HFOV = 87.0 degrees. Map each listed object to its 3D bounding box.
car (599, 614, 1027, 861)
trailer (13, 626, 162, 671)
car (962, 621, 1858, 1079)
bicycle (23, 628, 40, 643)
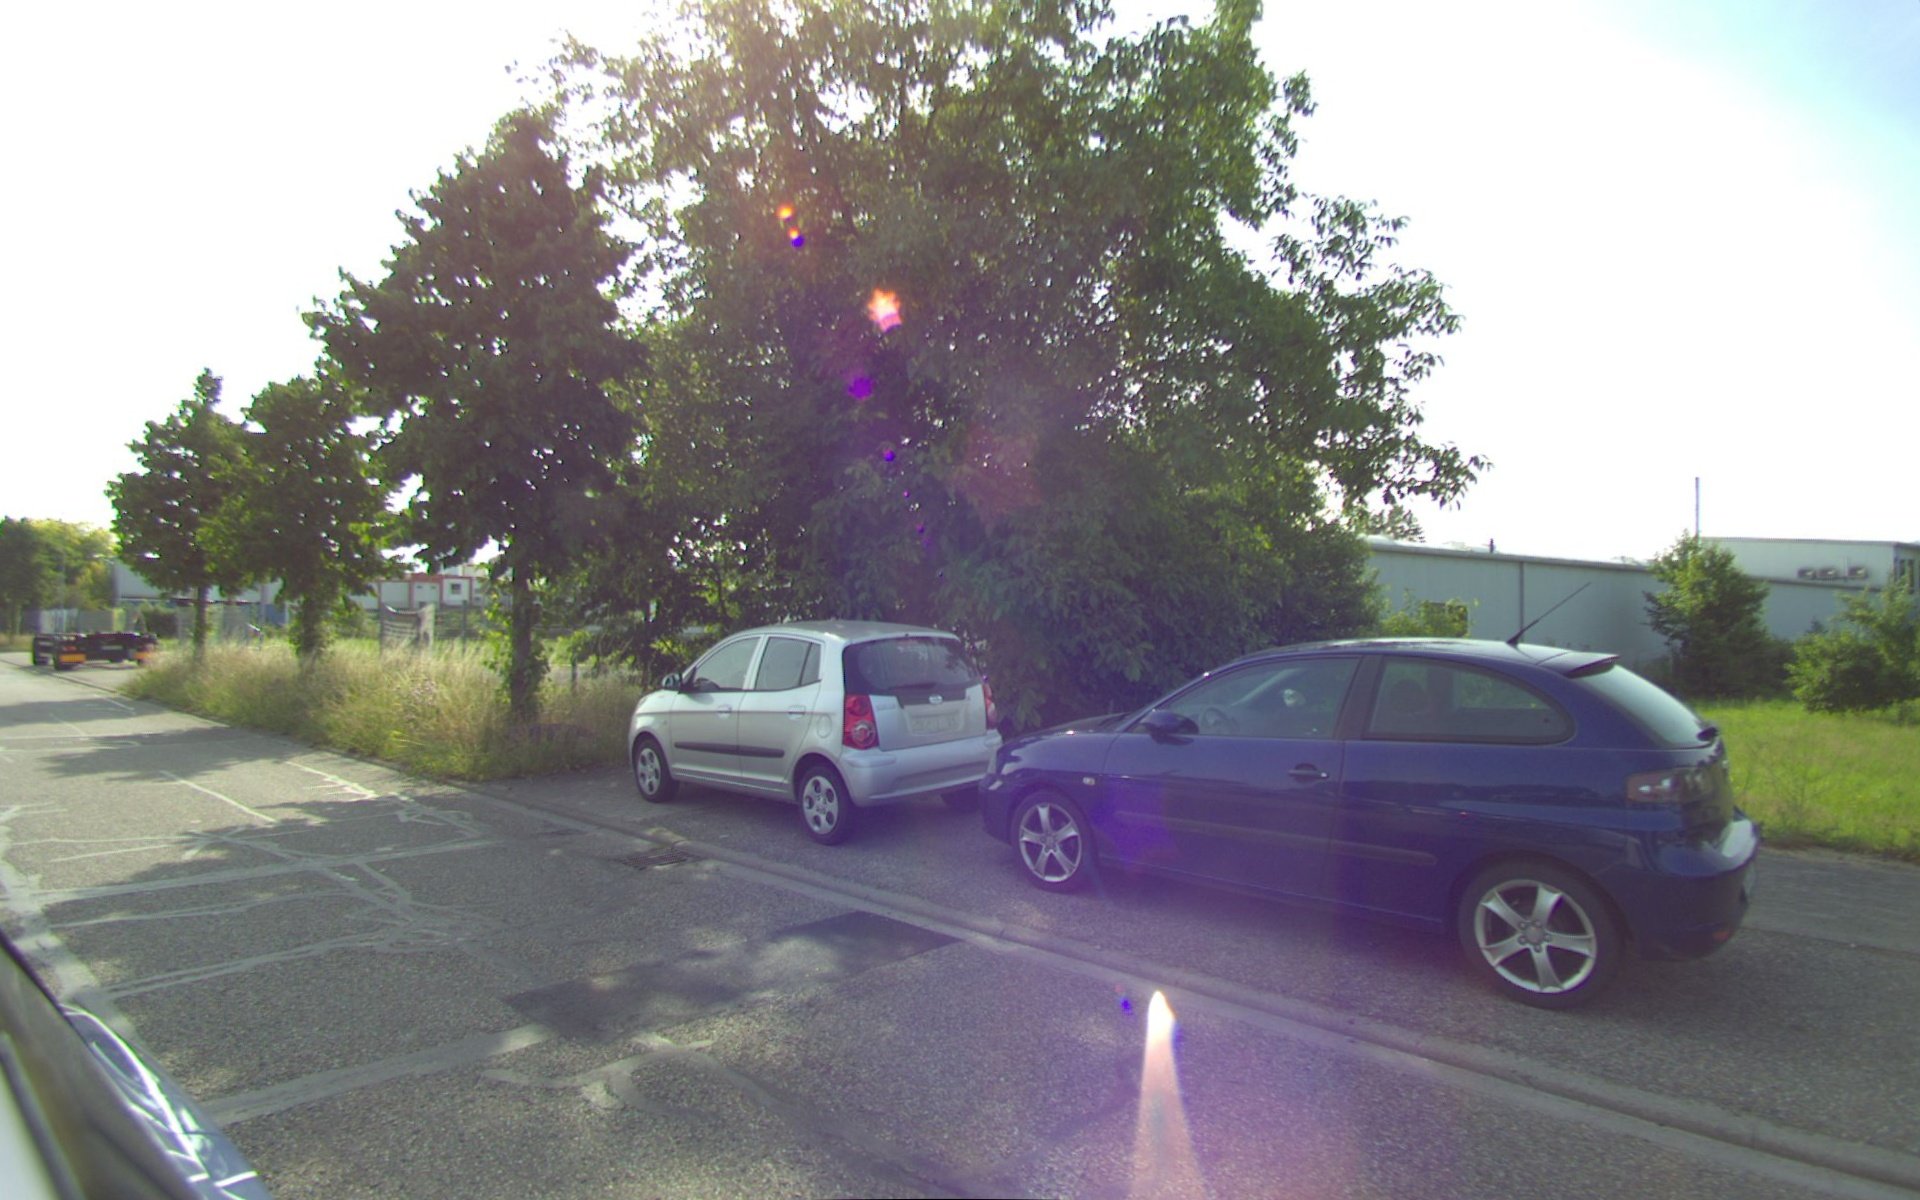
[{"bbox_3d":[-1.356,0.891,8.249,3.689,1.550,1.549,-1,-1,45],"label":"car"},{"bbox_3d":[-29.108,1.524,33.586,9.360,1.193,2.555,-1,-1,42],"label":"trailer"},{"bbox_3d":[1.976,0.857,5.256,3.964,1.454,1.561,-1,-1,44],"label":"car"},{"bbox_3d":[-65.009,2.482,70.852,2.451,0.980,0.556,-1,-3,42],"label":"bicycle"}]
